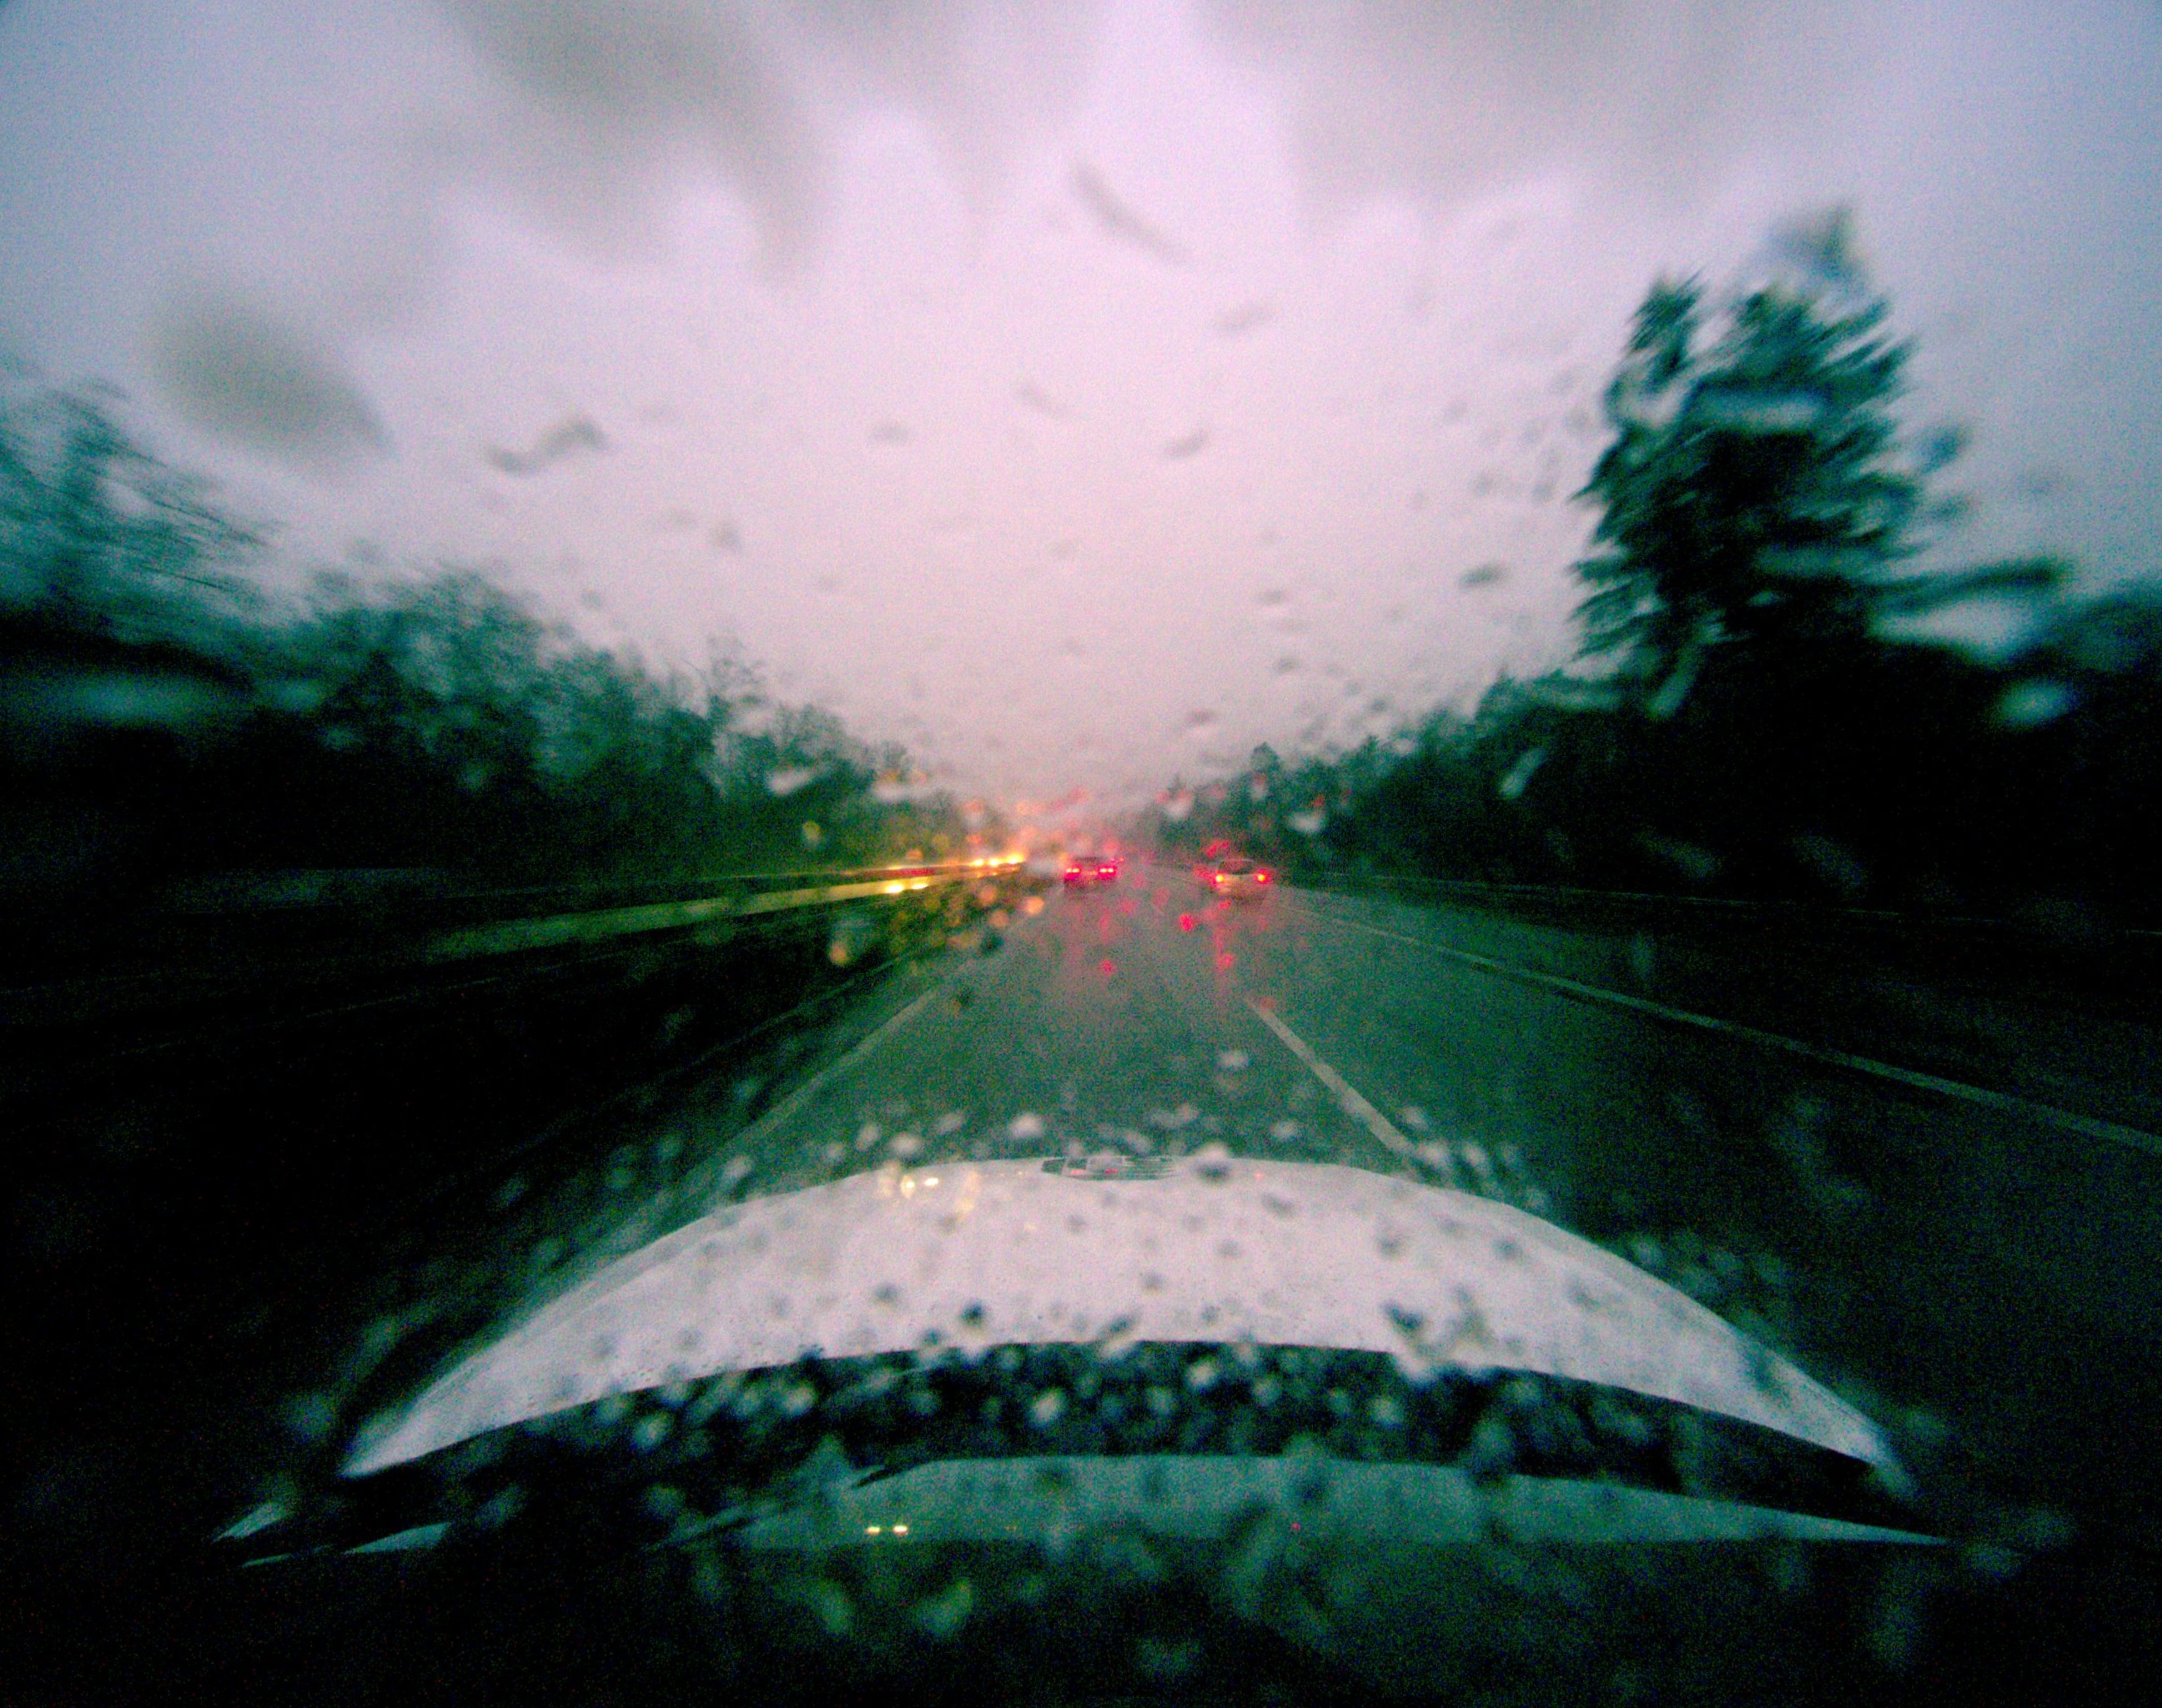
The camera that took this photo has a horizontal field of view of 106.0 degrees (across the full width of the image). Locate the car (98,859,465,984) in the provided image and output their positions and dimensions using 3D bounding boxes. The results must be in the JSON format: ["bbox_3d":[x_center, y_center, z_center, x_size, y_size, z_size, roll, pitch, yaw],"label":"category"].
[{"bbox_3d":[-11.122,0.833,11.744,1.637,1.480,3.648,-1,0,1],"label":"car"}]

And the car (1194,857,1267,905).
[{"bbox_3d":[4.778,0.818,26.495,1.773,1.437,3.538,-1,0,1],"label":"car"}]

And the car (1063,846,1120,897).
[{"bbox_3d":[0.363,0.609,30.329,1.980,1.767,4.172,-1,0,0],"label":"car"}]

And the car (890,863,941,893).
[{"bbox_3d":[-10.399,1.449,51.552,1.869,1.695,5.453,-1,0,2],"label":"car"}]
